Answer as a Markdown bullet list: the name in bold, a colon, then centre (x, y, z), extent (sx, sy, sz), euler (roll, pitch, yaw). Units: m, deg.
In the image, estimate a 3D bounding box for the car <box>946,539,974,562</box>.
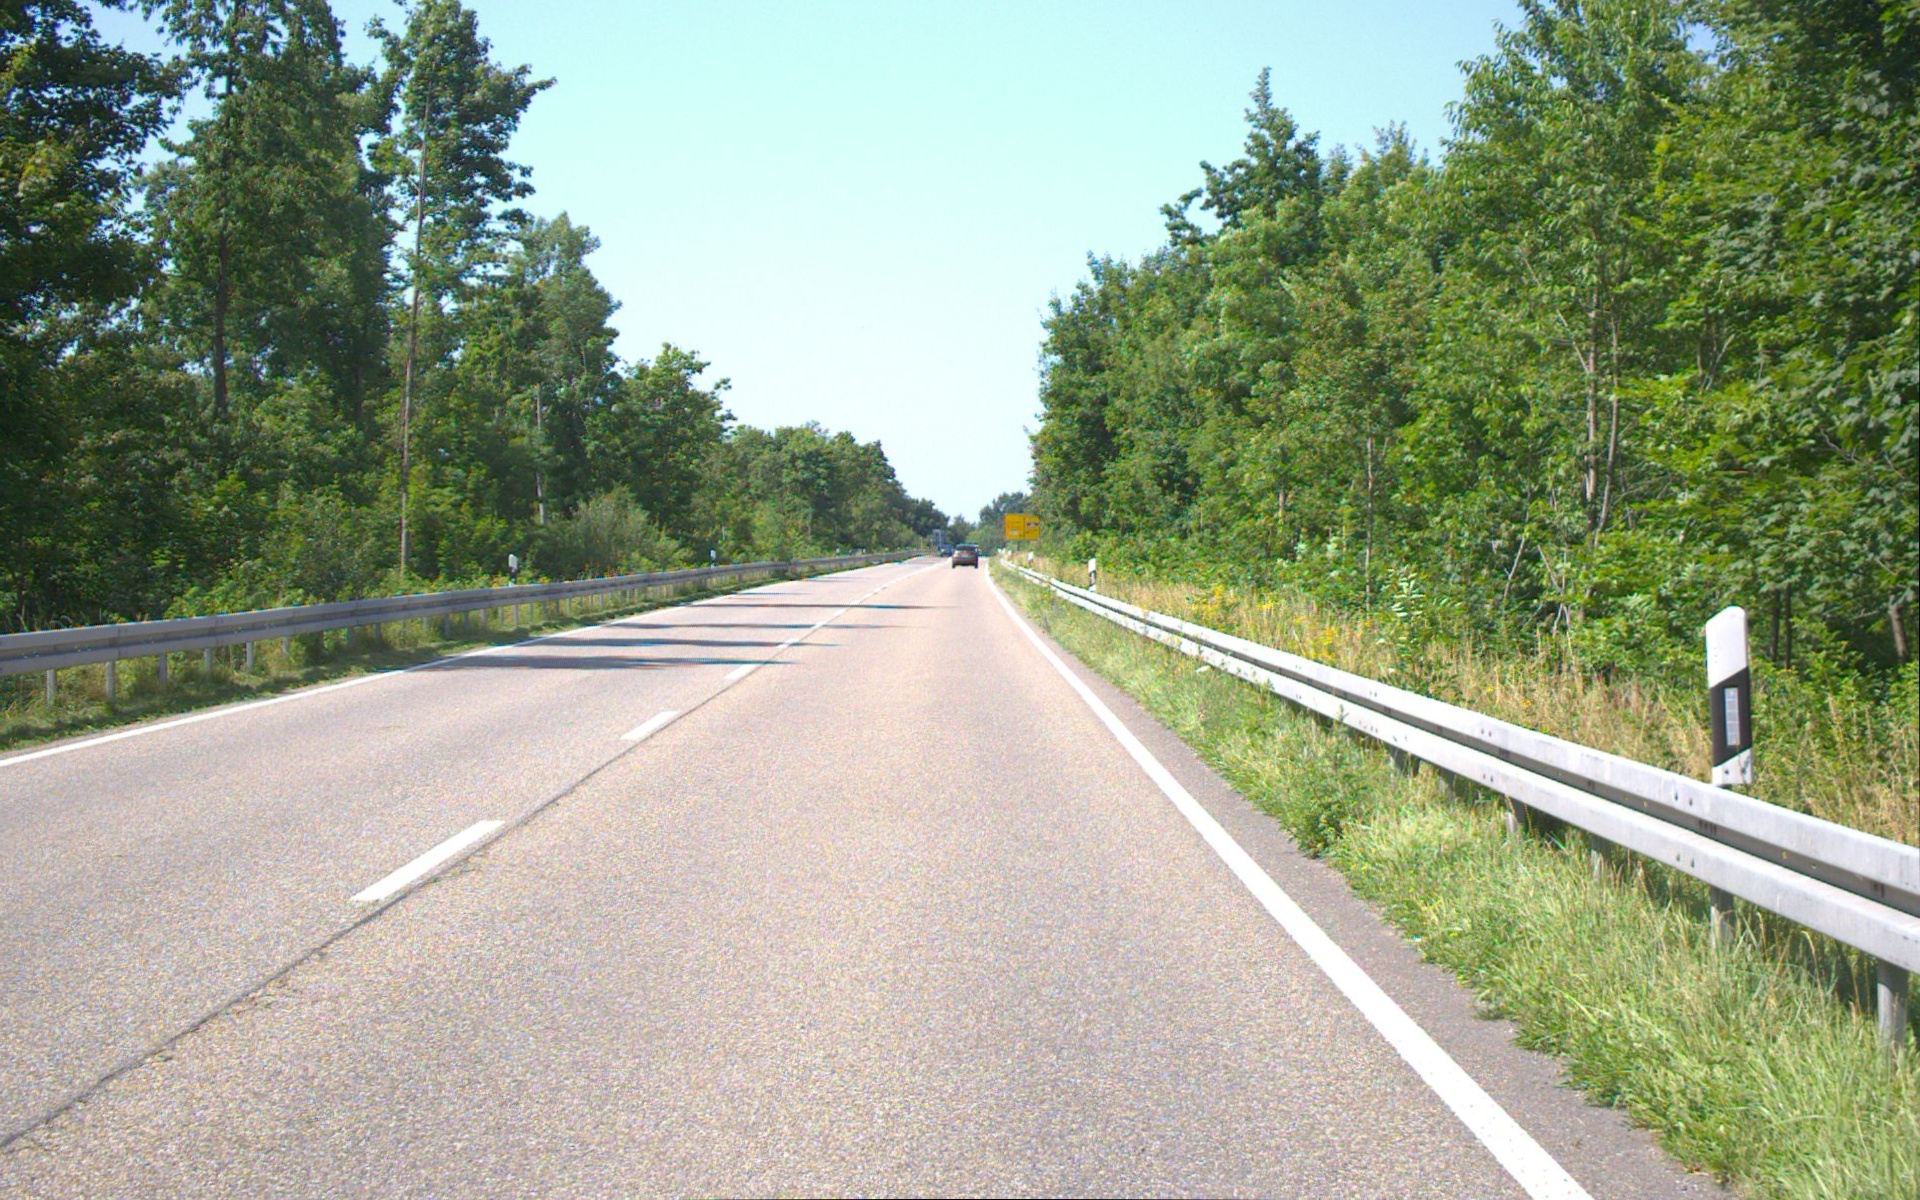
- **car**: centre (0.033, -3.343, 231.200), extent (1.741, 1.465, 3.692), euler (1, 1, 2)
